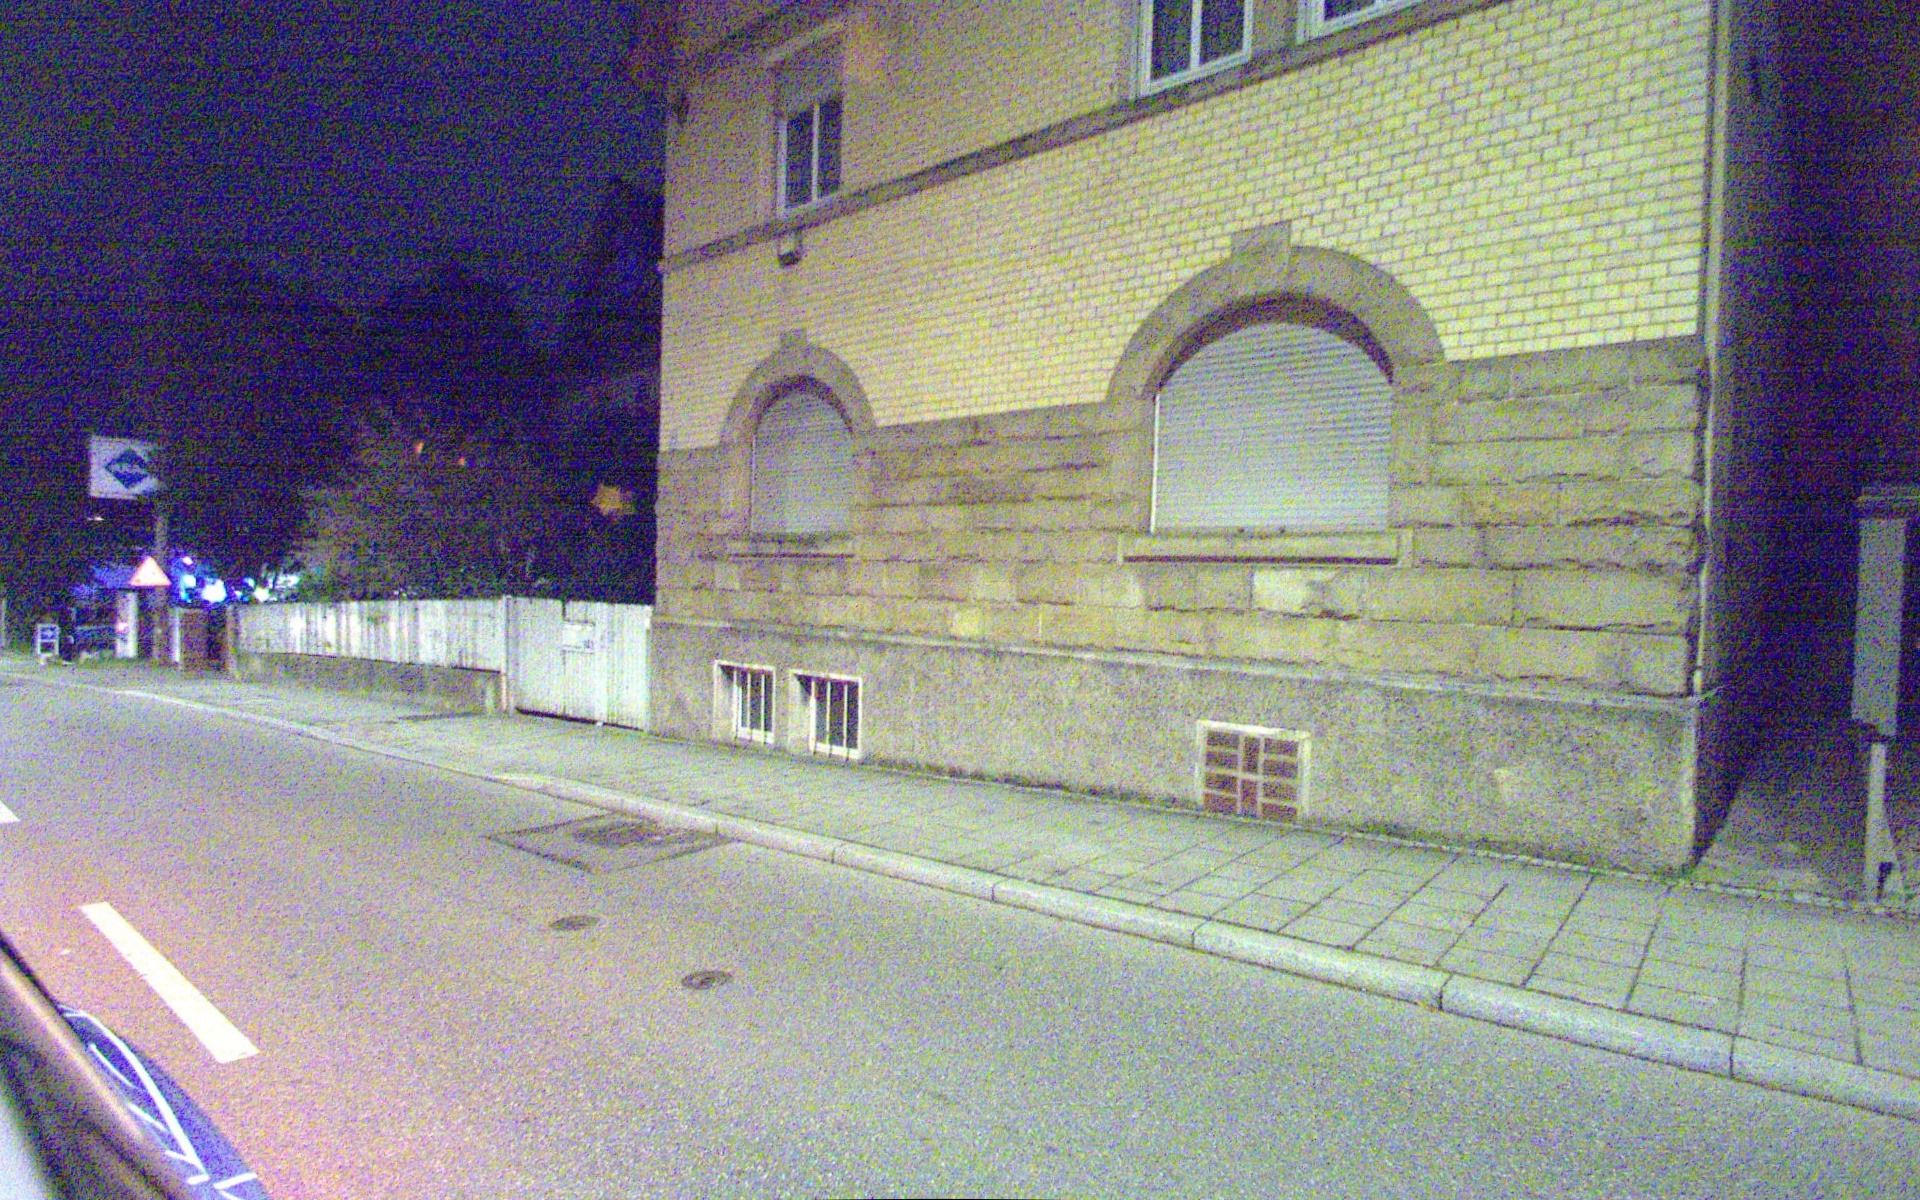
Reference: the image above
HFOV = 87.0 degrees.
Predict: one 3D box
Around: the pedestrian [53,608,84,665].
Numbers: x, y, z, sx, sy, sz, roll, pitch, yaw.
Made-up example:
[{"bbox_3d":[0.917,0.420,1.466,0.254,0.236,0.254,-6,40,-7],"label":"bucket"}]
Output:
[{"bbox_3d":[-27.975,1.131,31.765,0.500,1.773,0.664,-1,0,41],"label":"pedestrian"}]
